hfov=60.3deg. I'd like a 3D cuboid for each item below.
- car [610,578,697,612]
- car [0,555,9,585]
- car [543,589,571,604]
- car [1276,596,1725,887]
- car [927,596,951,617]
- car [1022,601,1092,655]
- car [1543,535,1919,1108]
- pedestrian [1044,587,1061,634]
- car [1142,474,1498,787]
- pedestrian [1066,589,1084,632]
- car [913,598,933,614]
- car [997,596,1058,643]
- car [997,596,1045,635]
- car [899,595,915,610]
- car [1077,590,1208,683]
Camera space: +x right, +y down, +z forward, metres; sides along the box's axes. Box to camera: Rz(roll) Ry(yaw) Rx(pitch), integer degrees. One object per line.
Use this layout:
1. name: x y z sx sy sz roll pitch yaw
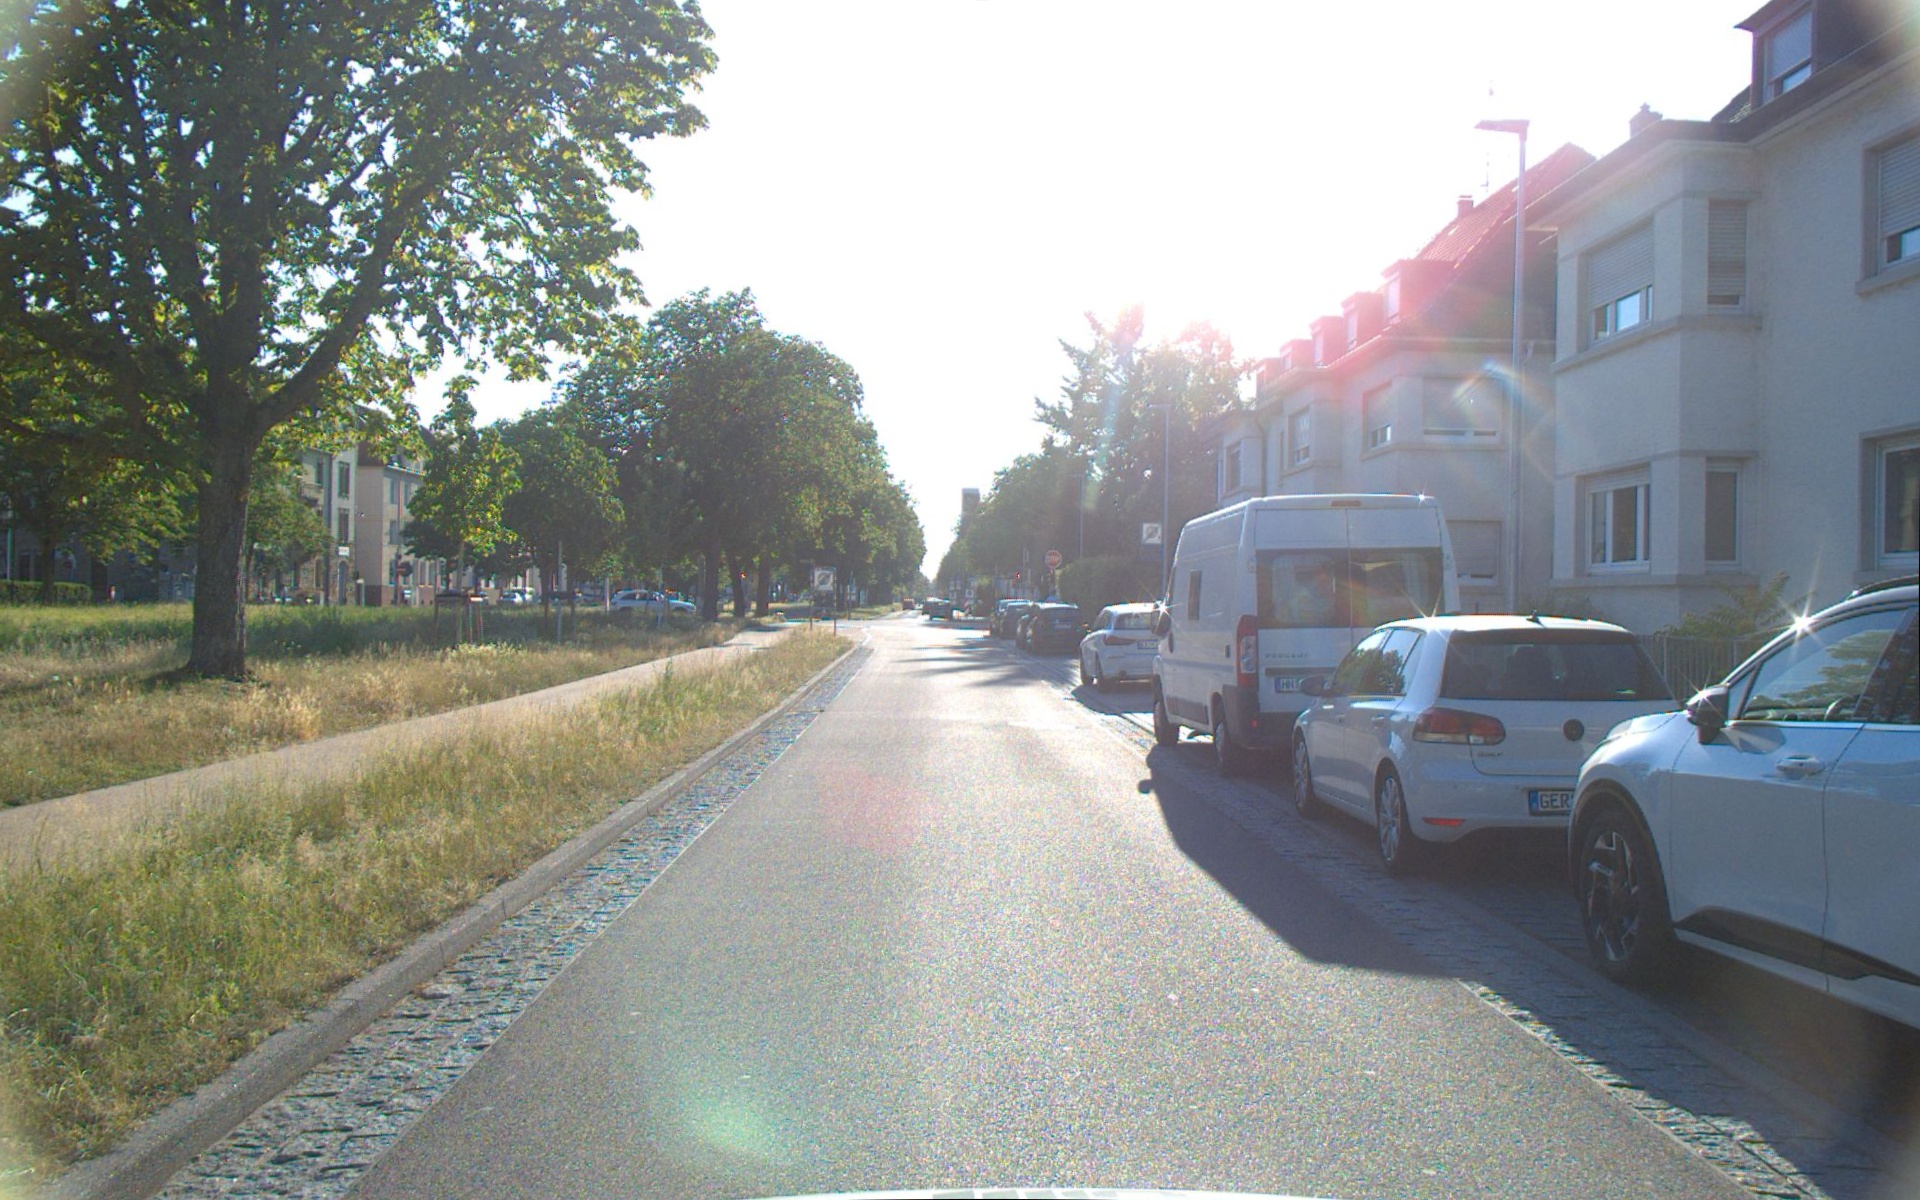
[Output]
1. car: -16.486 -0.261 88.828 4.343 1.706 1.887 2 0 -19
2. car: -49.591 -1.564 81.144 4.679 1.459 1.810 2 -2 -11
3. car: -39.021 -0.326 160.239 1.702 1.452 3.792 2 0 -1
4. car: 3.276 0.754 10.882 1.588 1.508 4.108 2 0 0
5. car: -1.541 0.483 122.212 1.607 1.476 3.308 2 0 1
6. car: 2.835 0.802 48.869 1.684 1.497 3.982 -1 0 -2
7. car: 3.653 0.643 5.447 1.742 1.674 4.478 0 0 -2
8. pedestrian: 3.829 0.430 68.624 0.656 1.898 0.882 2 0 2
9. car: 3.325 0.250 16.600 2.087 2.562 5.505 1 0 -3
10. pedestrian: 4.754 0.430 68.507 0.655 1.738 0.623 2 0 6
11. car: -3.479 0.524 156.312 1.808 1.418 3.828 2 0 0
12. car: 2.220 0.627 55.252 1.711 1.500 4.254 1 0 -2
13. car: 2.377 0.604 65.079 1.608 1.452 3.935 -1 0 -1
14. car: -7.370 0.327 231.094 2.090 2.049 3.901 2 0 0
15. car: 3.205 0.603 29.831 1.747 1.533 4.232 1 0 -2
